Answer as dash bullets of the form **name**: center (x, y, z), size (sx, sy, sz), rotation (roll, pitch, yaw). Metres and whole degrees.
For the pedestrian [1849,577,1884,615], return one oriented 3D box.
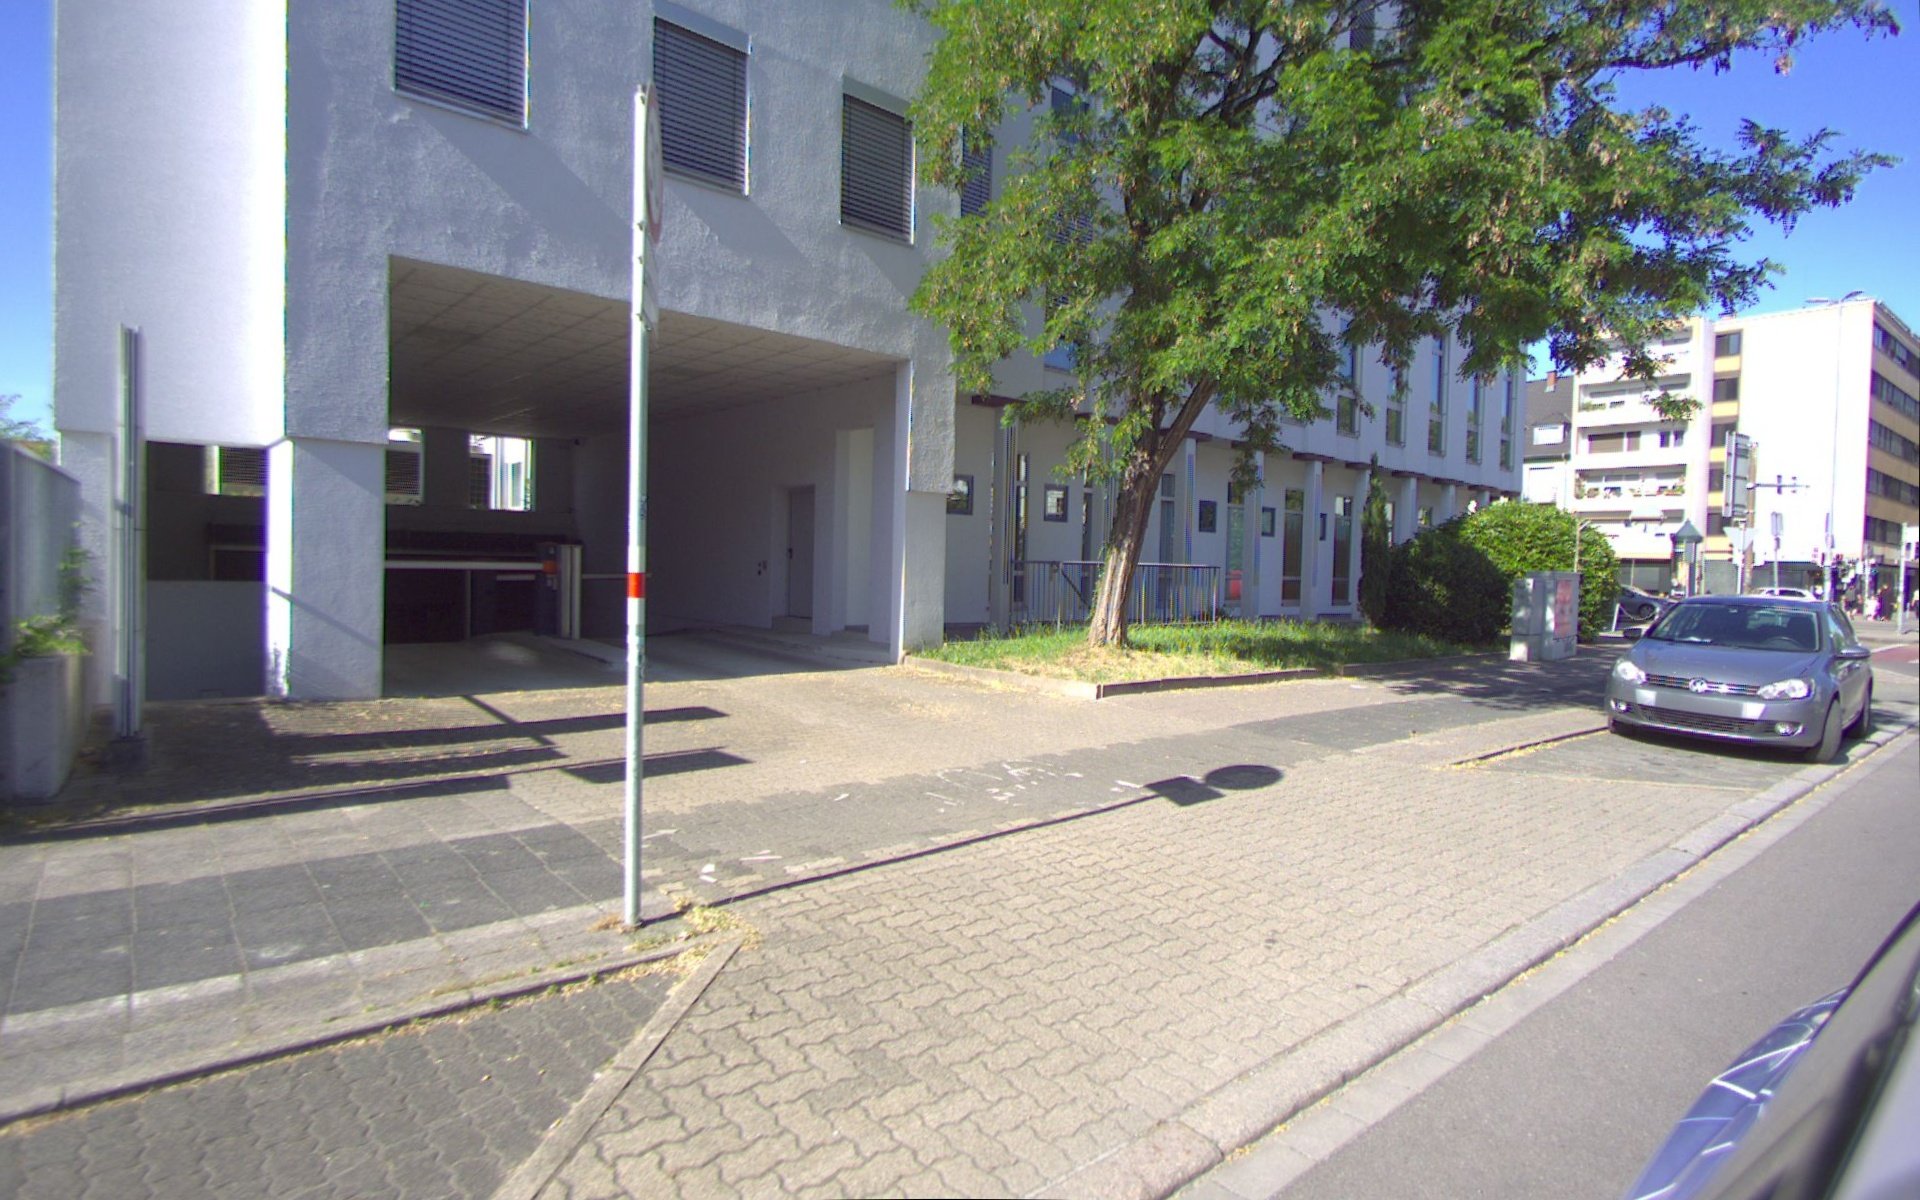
- **pedestrian**: center (40.667, -0.185, 45.400), size (0.786, 1.663, 0.981), rotation (-1, 3, 15)

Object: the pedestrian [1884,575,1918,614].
- **pedestrian**: center (40.785, -0.256, 43.875), size (0.707, 1.642, 0.899), rotation (-3, 3, -30)

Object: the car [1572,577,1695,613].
- **car**: center (29.304, -0.257, 44.127), size (1.848, 1.425, 4.059), rotation (-1, 2, -34)

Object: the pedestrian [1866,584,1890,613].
- **pedestrian**: center (40.386, -0.057, 44.527), size (0.516, 1.217, 0.649), rotation (-3, 3, -30)

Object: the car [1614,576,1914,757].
- **car**: center (8.371, 0.590, 10.409), size (4.082, 1.466, 1.641), rotation (2, 1, -41)

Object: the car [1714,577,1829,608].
- **car**: center (44.048, -0.392, 55.037), size (4.477, 1.538, 1.879), rotation (2, 0, 10)
